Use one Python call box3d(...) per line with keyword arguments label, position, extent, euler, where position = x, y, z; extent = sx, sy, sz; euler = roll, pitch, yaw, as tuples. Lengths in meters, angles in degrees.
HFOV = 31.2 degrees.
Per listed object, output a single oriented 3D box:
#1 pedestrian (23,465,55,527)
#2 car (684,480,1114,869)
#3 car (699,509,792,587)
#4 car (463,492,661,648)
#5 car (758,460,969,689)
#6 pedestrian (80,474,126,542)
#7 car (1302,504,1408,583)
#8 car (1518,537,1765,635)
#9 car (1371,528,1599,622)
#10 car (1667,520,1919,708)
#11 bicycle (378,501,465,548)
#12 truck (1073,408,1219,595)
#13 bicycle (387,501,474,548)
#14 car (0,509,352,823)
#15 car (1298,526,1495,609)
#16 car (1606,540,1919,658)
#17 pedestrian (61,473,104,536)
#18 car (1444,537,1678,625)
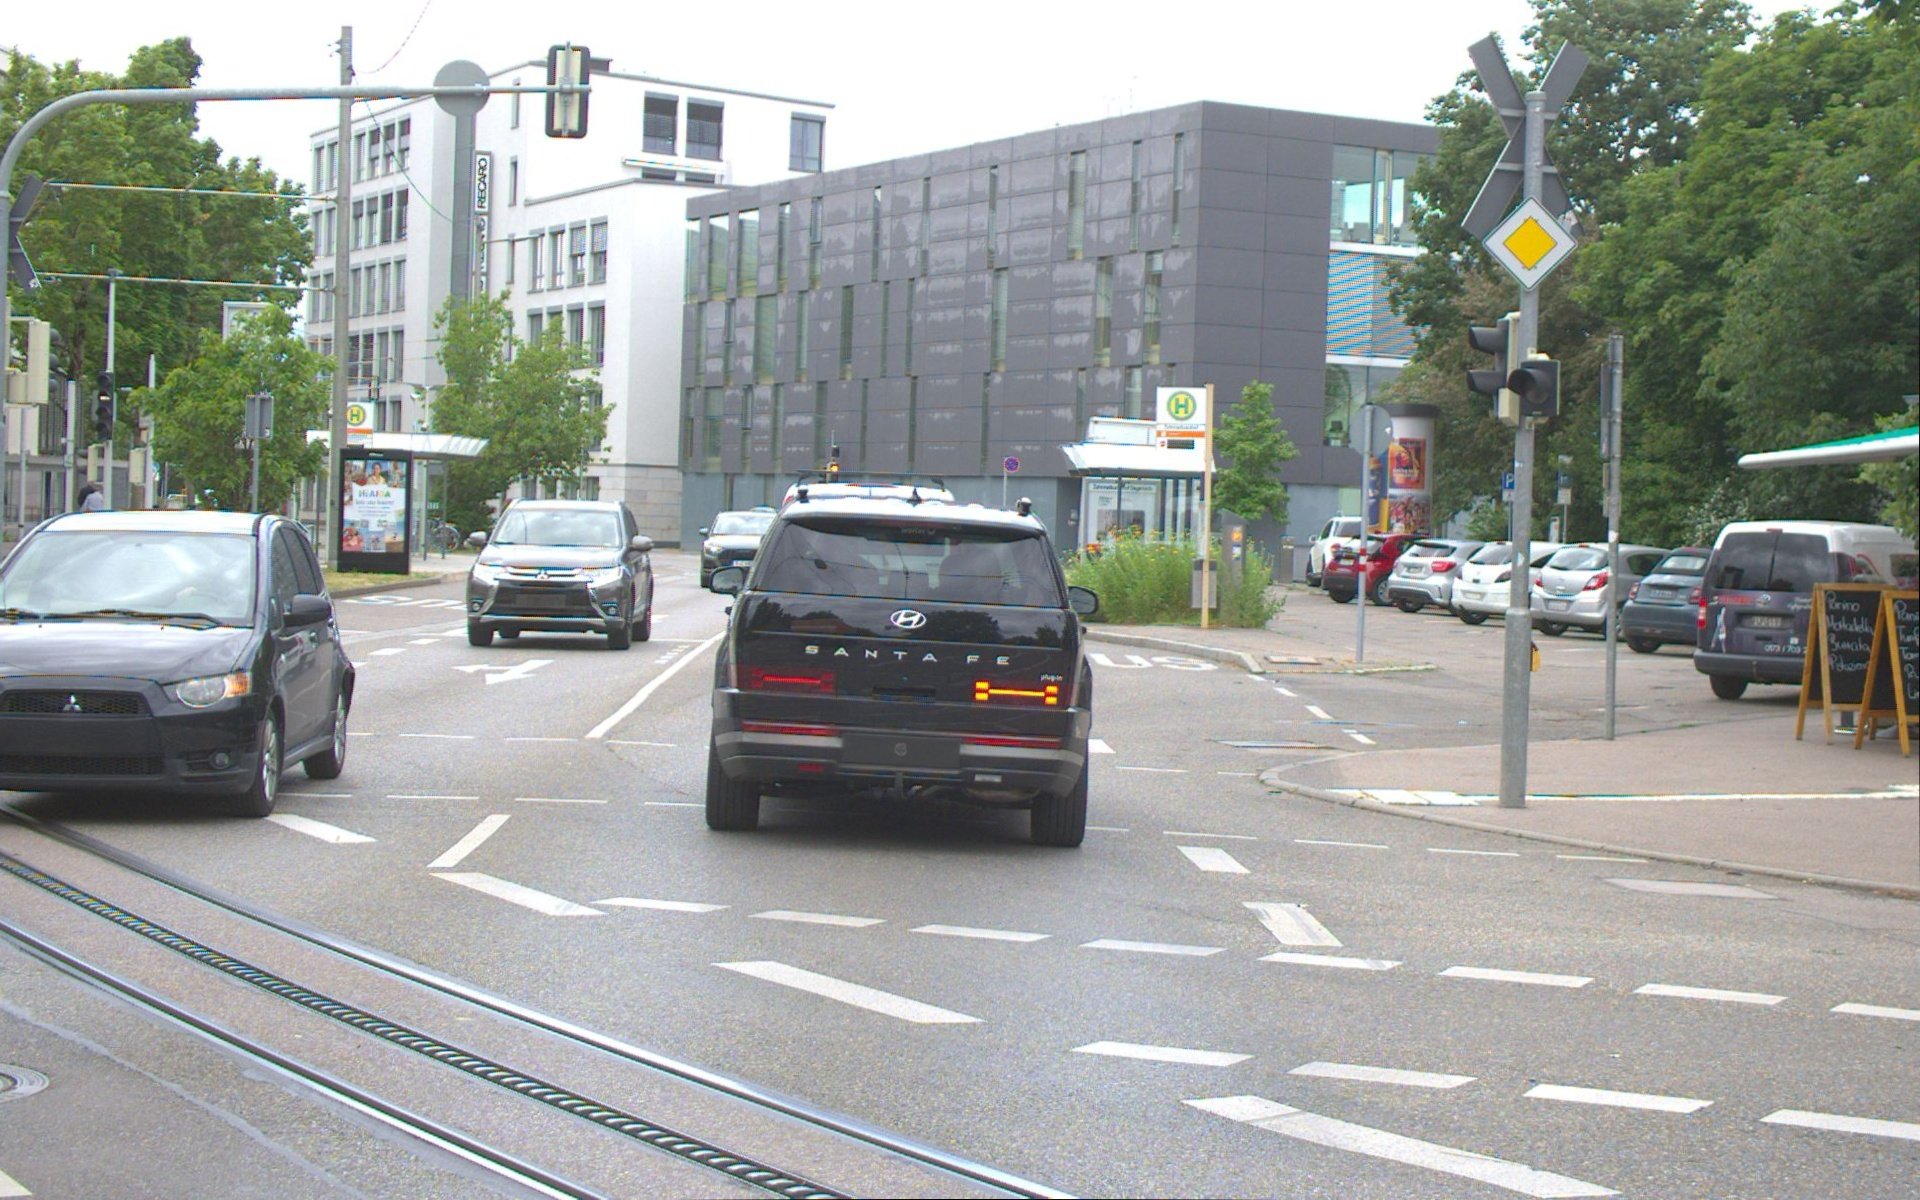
box3d(label="pedestrian", position=(-25.750, -2.915, 96.127), extent=(0.613, 1.688, 0.785), euler=(3, 0, -1))
box3d(label="car", position=(-0.388, 0.291, 18.210), extent=(1.915, 1.719, 4.171), euler=(3, 2, -3))
box3d(label="car", position=(-4.467, -1.096, 71.985), extent=(1.739, 1.554, 4.184), euler=(1, 1, -1))
box3d(label="car", position=(-4.497, -0.384, 39.379), extent=(1.788, 1.656, 4.277), euler=(1, 1, -1))
box3d(label="car", position=(-0.994, -0.309, 33.422), extent=(1.855, 2.026, 4.438), euler=(2, 2, -3))
box3d(label="pedestrian", position=(-22.007, -2.358, 88.279), extent=(0.919, 1.713, 0.906), euler=(2, 1, -1))
box3d(label="car", position=(9.532, -1.367, 83.310), extent=(1.993, 1.831, 4.518), euler=(0, 1, -1))
box3d(label="car", position=(10.387, -0.214, 52.380), extent=(3.505, 1.373, 1.547), euler=(0, 4, -31))
box3d(label="car", position=(9.706, -0.467, 63.477), extent=(3.790, 1.468, 1.798), euler=(3, 0, -30))
box3d(label="car", position=(9.150, 0.092, 35.185), extent=(1.849, 1.742, 4.685), euler=(3, 2, 37))
box3d(label="bicycle", position=(-13.901, -1.961, 88.805), extent=(2.099, 1.102, 0.631), euler=(3, 1, 1))
box3d(label="truck", position=(3.696, -1.995, 69.817), extent=(2.573, 3.513, 7.810), euler=(2, 2, 1))
box3d(label="bicycle", position=(-13.790, -1.962, 89.527), extent=(2.099, 1.102, 0.631), euler=(3, 1, 2))
box3d(label="car", position=(-4.329, 0.270, 18.360), extent=(1.674, 1.500, 3.734), euler=(0, 1, -3))
box3d(label="car", position=(8.702, -0.650, 68.552), extent=(3.491, 1.450, 1.681), euler=(3, 1, -28))
box3d(label="car", position=(10.984, -0.012, 46.953), extent=(3.987, 1.472, 1.880), euler=(1, 1, -32))
box3d(label="pedestrian", position=(-24.490, -2.653, 95.938), extent=(0.919, 1.713, 0.906), euler=(2, 1, -1))
box3d(label="car", position=(10.062, -0.336, 57.543), extent=(3.638, 1.430, 1.592), euler=(-1, 1, -27))
